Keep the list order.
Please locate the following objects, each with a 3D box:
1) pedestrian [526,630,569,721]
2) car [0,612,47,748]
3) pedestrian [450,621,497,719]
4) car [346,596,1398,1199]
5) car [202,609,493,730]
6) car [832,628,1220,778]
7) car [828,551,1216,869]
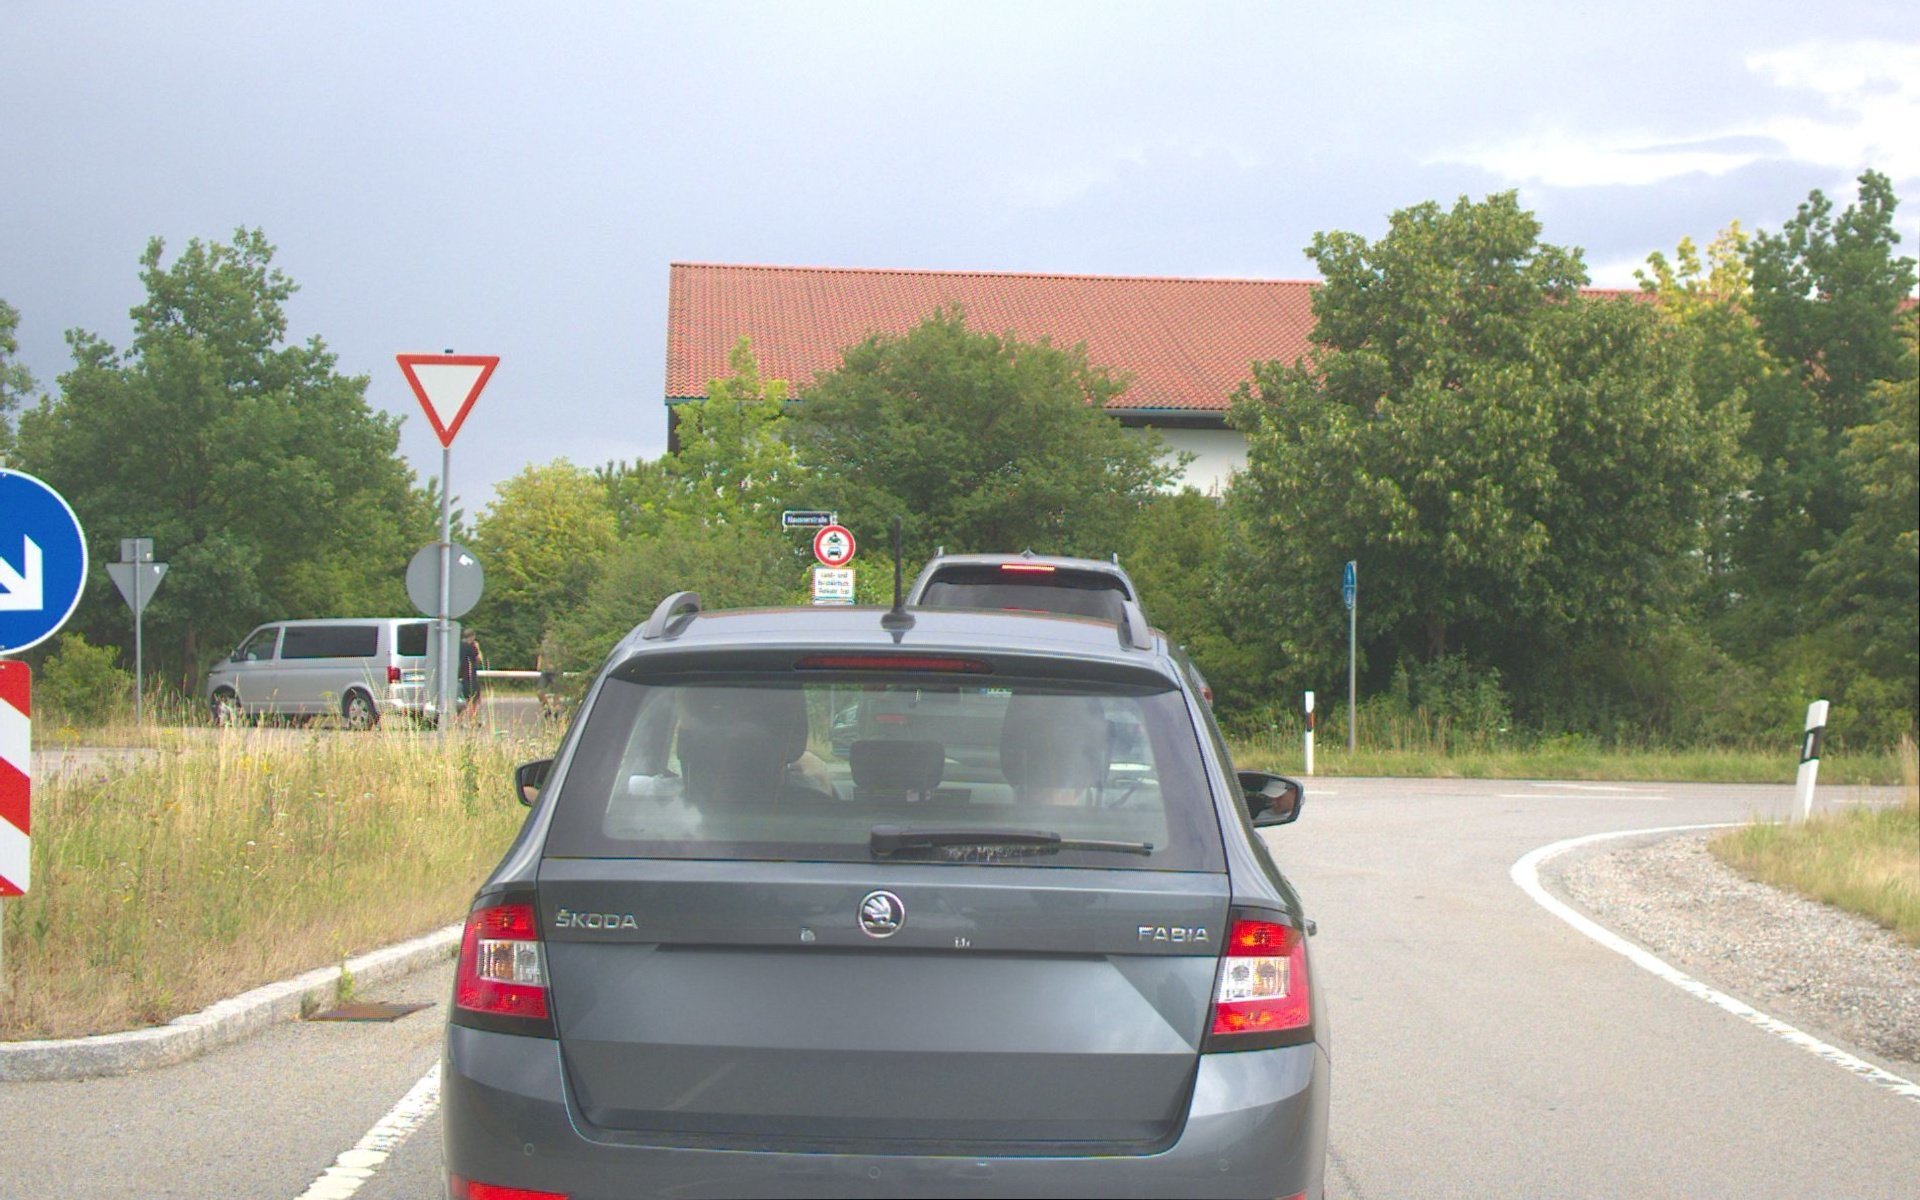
[{"bbox_3d":[-7.714,1.407,64.321,0.584,1.677,0.565,1,0,22],"label":"pedestrian"},{"bbox_3d":[-11.636,0.777,34.744,4.342,1.340,1.681,1,0,5],"label":"car"},{"bbox_3d":[-8.650,1.240,61.146,0.529,1.720,0.640,1,0,34],"label":"pedestrian"},{"bbox_3d":[-0.161,0.734,7.361,1.676,1.458,3.708,1,0,-1],"label":"car"},{"bbox_3d":[-10.995,1.206,61.588,4.908,2.007,2.337,1,1,35],"label":"car"},{"bbox_3d":[0.686,1.127,38.479,4.210,1.596,2.000,0,0,-3],"label":"car"},{"bbox_3d":[0.268,0.670,21.951,1.993,1.768,4.644,1,-1,-5],"label":"car"}]
